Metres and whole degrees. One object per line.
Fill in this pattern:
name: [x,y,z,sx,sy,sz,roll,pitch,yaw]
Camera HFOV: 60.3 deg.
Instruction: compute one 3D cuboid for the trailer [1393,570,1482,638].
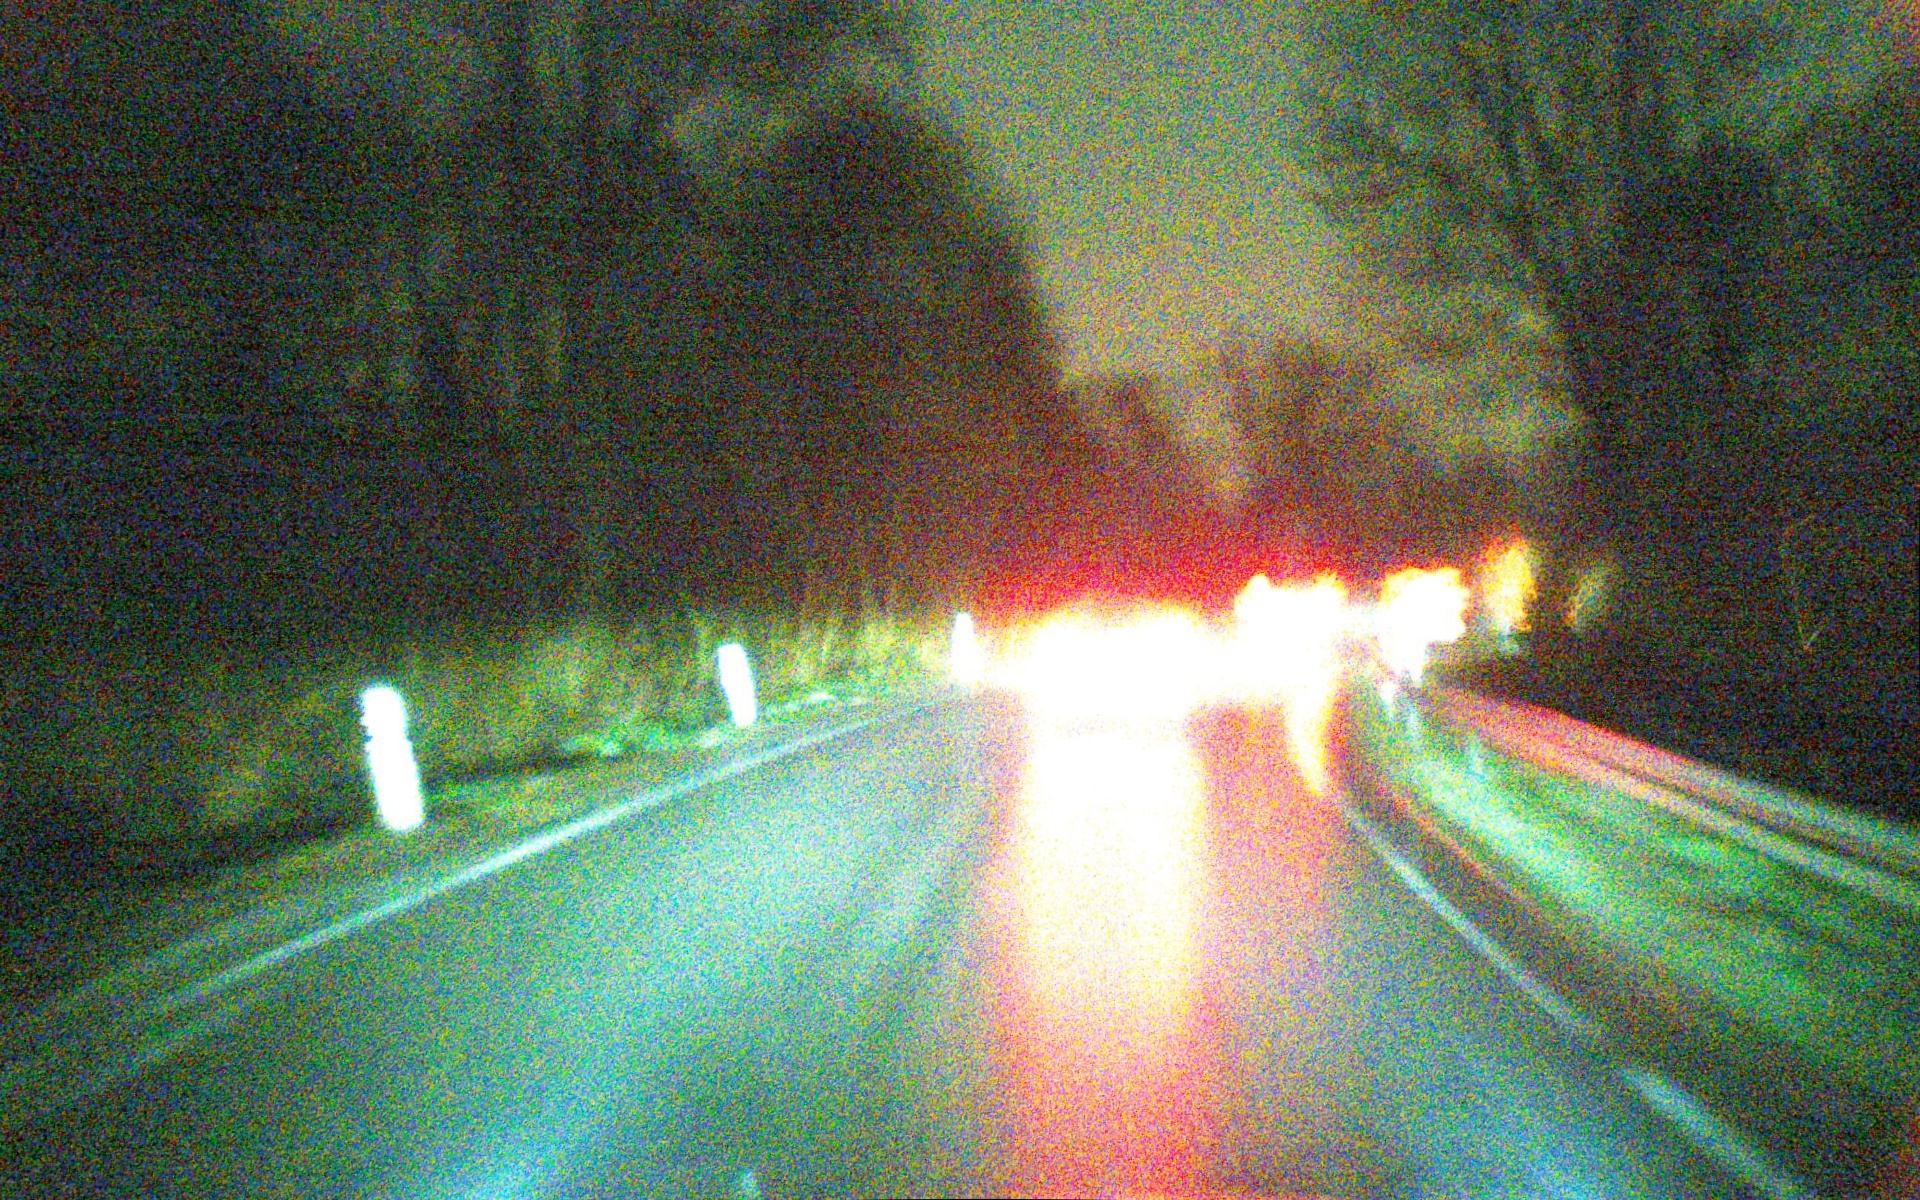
trailer: [16.745,0.252,57.555,2.035,2.049,10.647,-4,-3,21]
